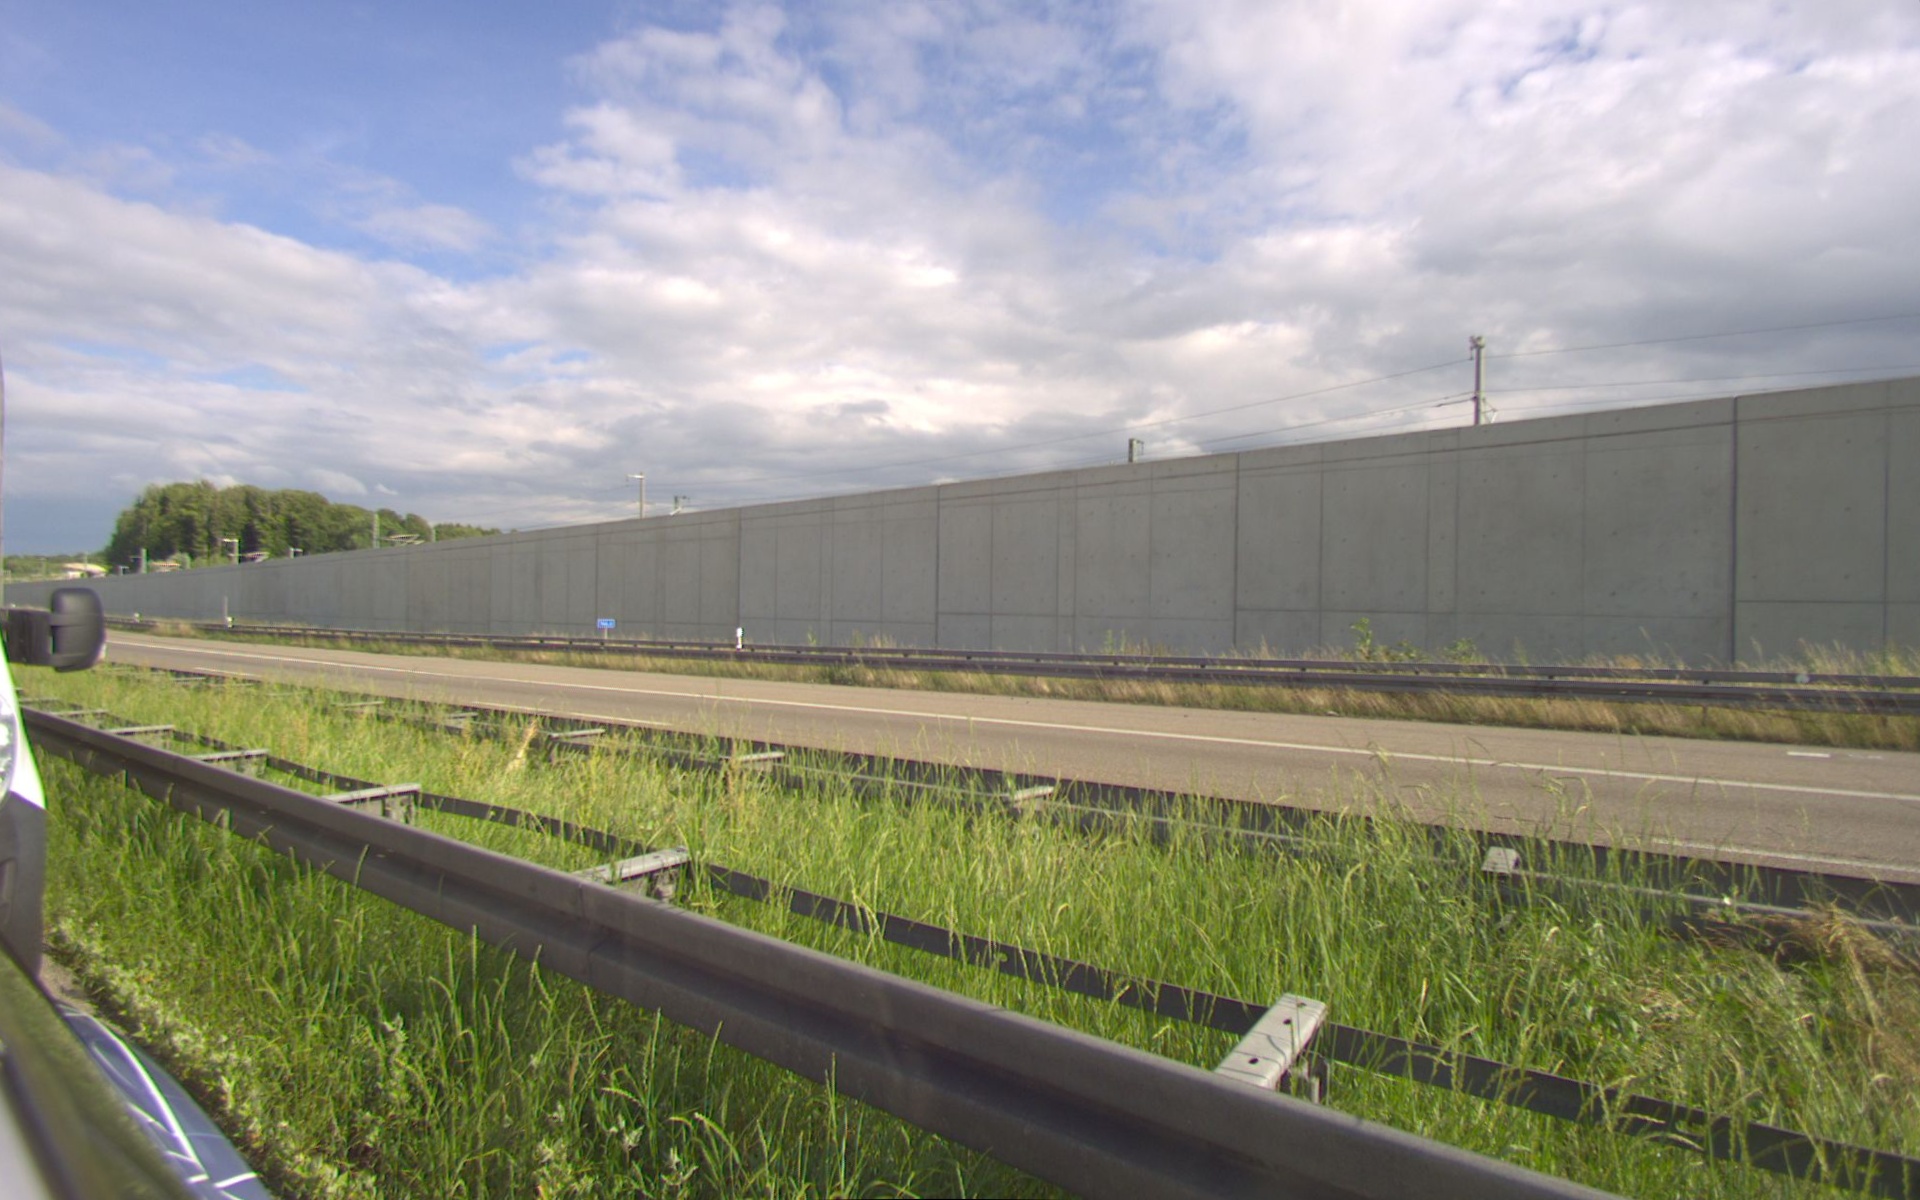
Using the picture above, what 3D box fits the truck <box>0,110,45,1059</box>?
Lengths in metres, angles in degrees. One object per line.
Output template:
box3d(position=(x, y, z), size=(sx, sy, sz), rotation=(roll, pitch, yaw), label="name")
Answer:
box3d(position=(-6.684, -0.018, 5.218), size=(7.800, 3.129, 2.033), rotation=(-1, 0, 41), label="truck")
